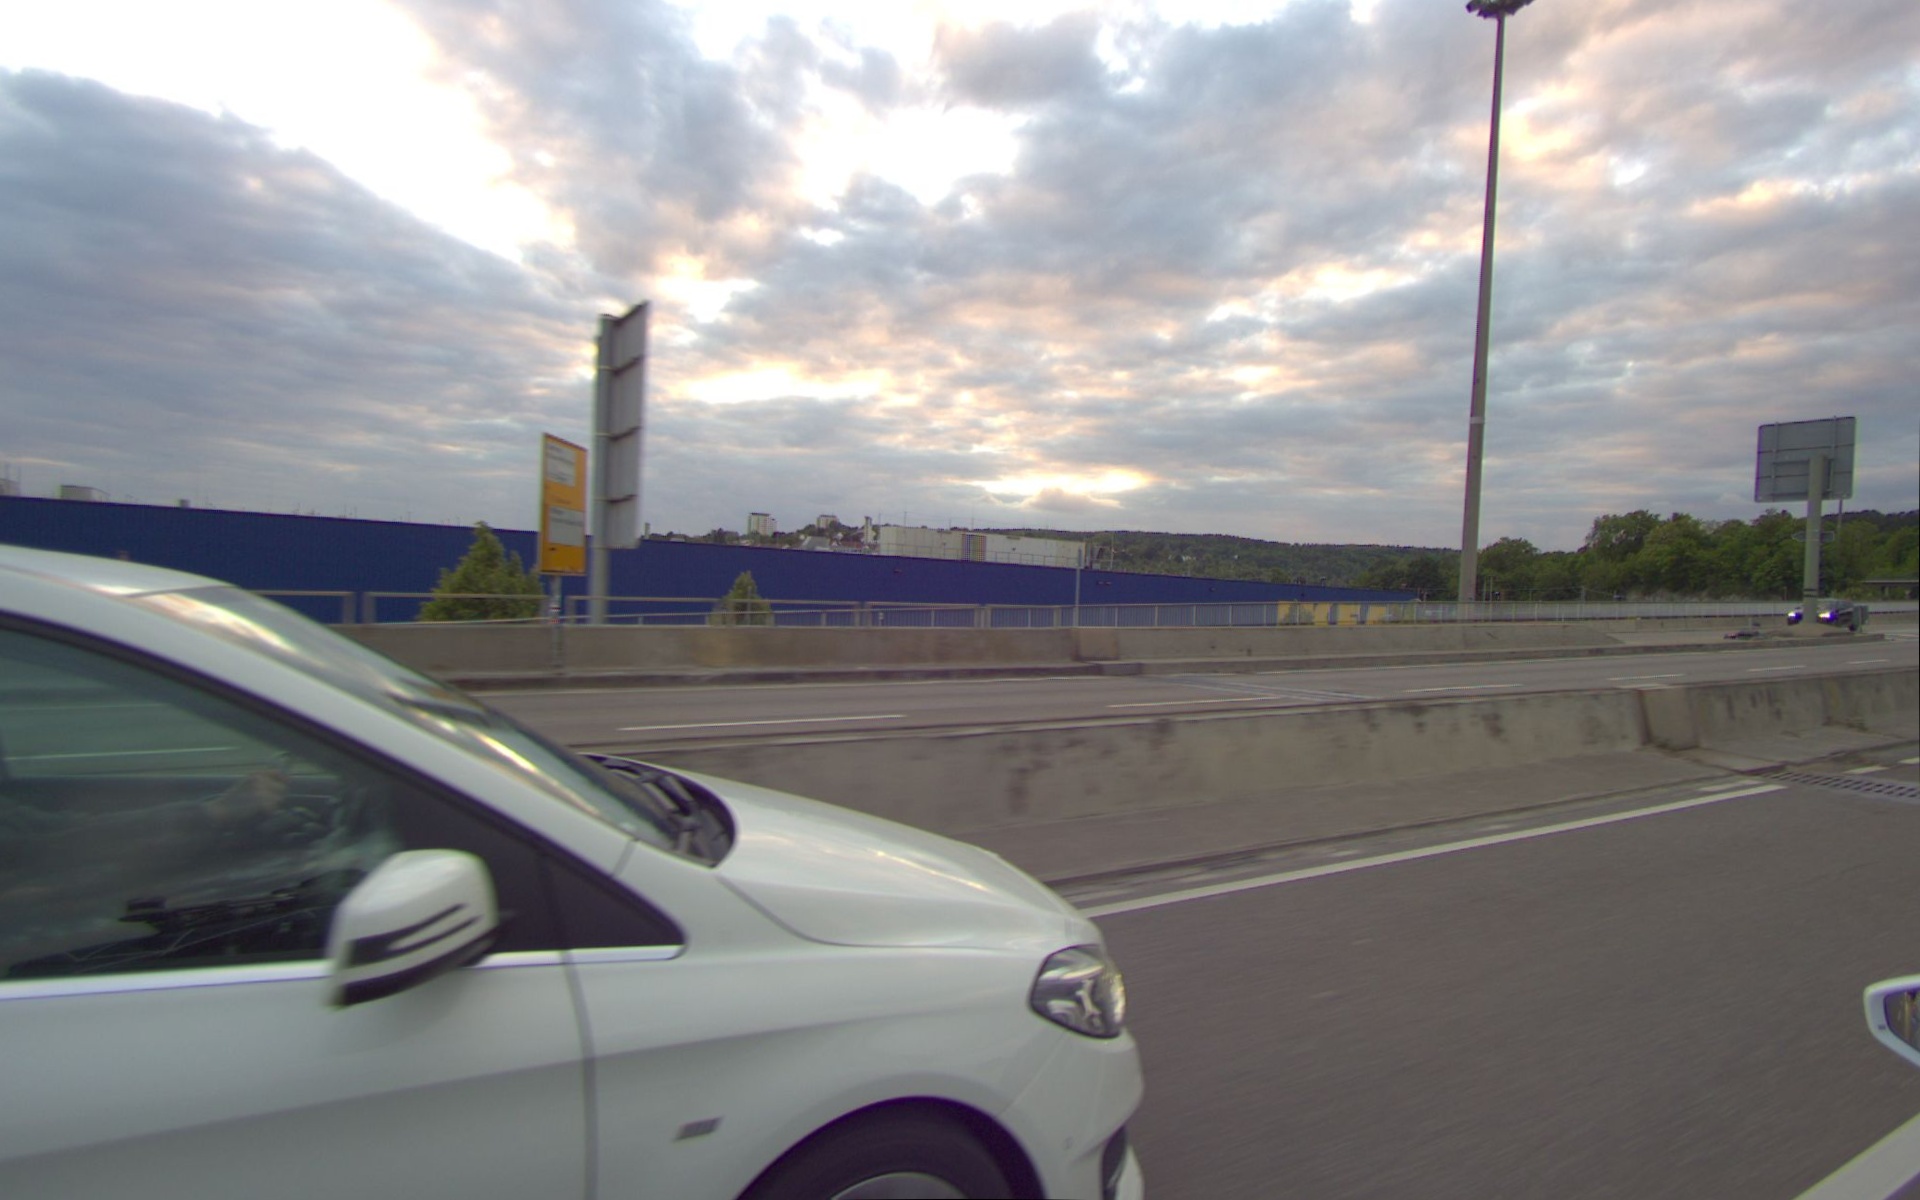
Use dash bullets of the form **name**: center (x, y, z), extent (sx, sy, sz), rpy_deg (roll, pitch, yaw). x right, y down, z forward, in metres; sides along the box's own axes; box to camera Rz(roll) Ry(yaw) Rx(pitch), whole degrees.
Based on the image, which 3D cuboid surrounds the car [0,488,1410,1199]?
- **car**: center (-1.488, 0.654, 1.706), extent (4.727, 1.557, 1.682), rpy_deg (1, 0, -31)

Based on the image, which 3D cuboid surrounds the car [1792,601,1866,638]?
- **car**: center (44.462, 1.001, 51.388), extent (3.954, 1.740, 1.628), rpy_deg (1, 2, -31)
